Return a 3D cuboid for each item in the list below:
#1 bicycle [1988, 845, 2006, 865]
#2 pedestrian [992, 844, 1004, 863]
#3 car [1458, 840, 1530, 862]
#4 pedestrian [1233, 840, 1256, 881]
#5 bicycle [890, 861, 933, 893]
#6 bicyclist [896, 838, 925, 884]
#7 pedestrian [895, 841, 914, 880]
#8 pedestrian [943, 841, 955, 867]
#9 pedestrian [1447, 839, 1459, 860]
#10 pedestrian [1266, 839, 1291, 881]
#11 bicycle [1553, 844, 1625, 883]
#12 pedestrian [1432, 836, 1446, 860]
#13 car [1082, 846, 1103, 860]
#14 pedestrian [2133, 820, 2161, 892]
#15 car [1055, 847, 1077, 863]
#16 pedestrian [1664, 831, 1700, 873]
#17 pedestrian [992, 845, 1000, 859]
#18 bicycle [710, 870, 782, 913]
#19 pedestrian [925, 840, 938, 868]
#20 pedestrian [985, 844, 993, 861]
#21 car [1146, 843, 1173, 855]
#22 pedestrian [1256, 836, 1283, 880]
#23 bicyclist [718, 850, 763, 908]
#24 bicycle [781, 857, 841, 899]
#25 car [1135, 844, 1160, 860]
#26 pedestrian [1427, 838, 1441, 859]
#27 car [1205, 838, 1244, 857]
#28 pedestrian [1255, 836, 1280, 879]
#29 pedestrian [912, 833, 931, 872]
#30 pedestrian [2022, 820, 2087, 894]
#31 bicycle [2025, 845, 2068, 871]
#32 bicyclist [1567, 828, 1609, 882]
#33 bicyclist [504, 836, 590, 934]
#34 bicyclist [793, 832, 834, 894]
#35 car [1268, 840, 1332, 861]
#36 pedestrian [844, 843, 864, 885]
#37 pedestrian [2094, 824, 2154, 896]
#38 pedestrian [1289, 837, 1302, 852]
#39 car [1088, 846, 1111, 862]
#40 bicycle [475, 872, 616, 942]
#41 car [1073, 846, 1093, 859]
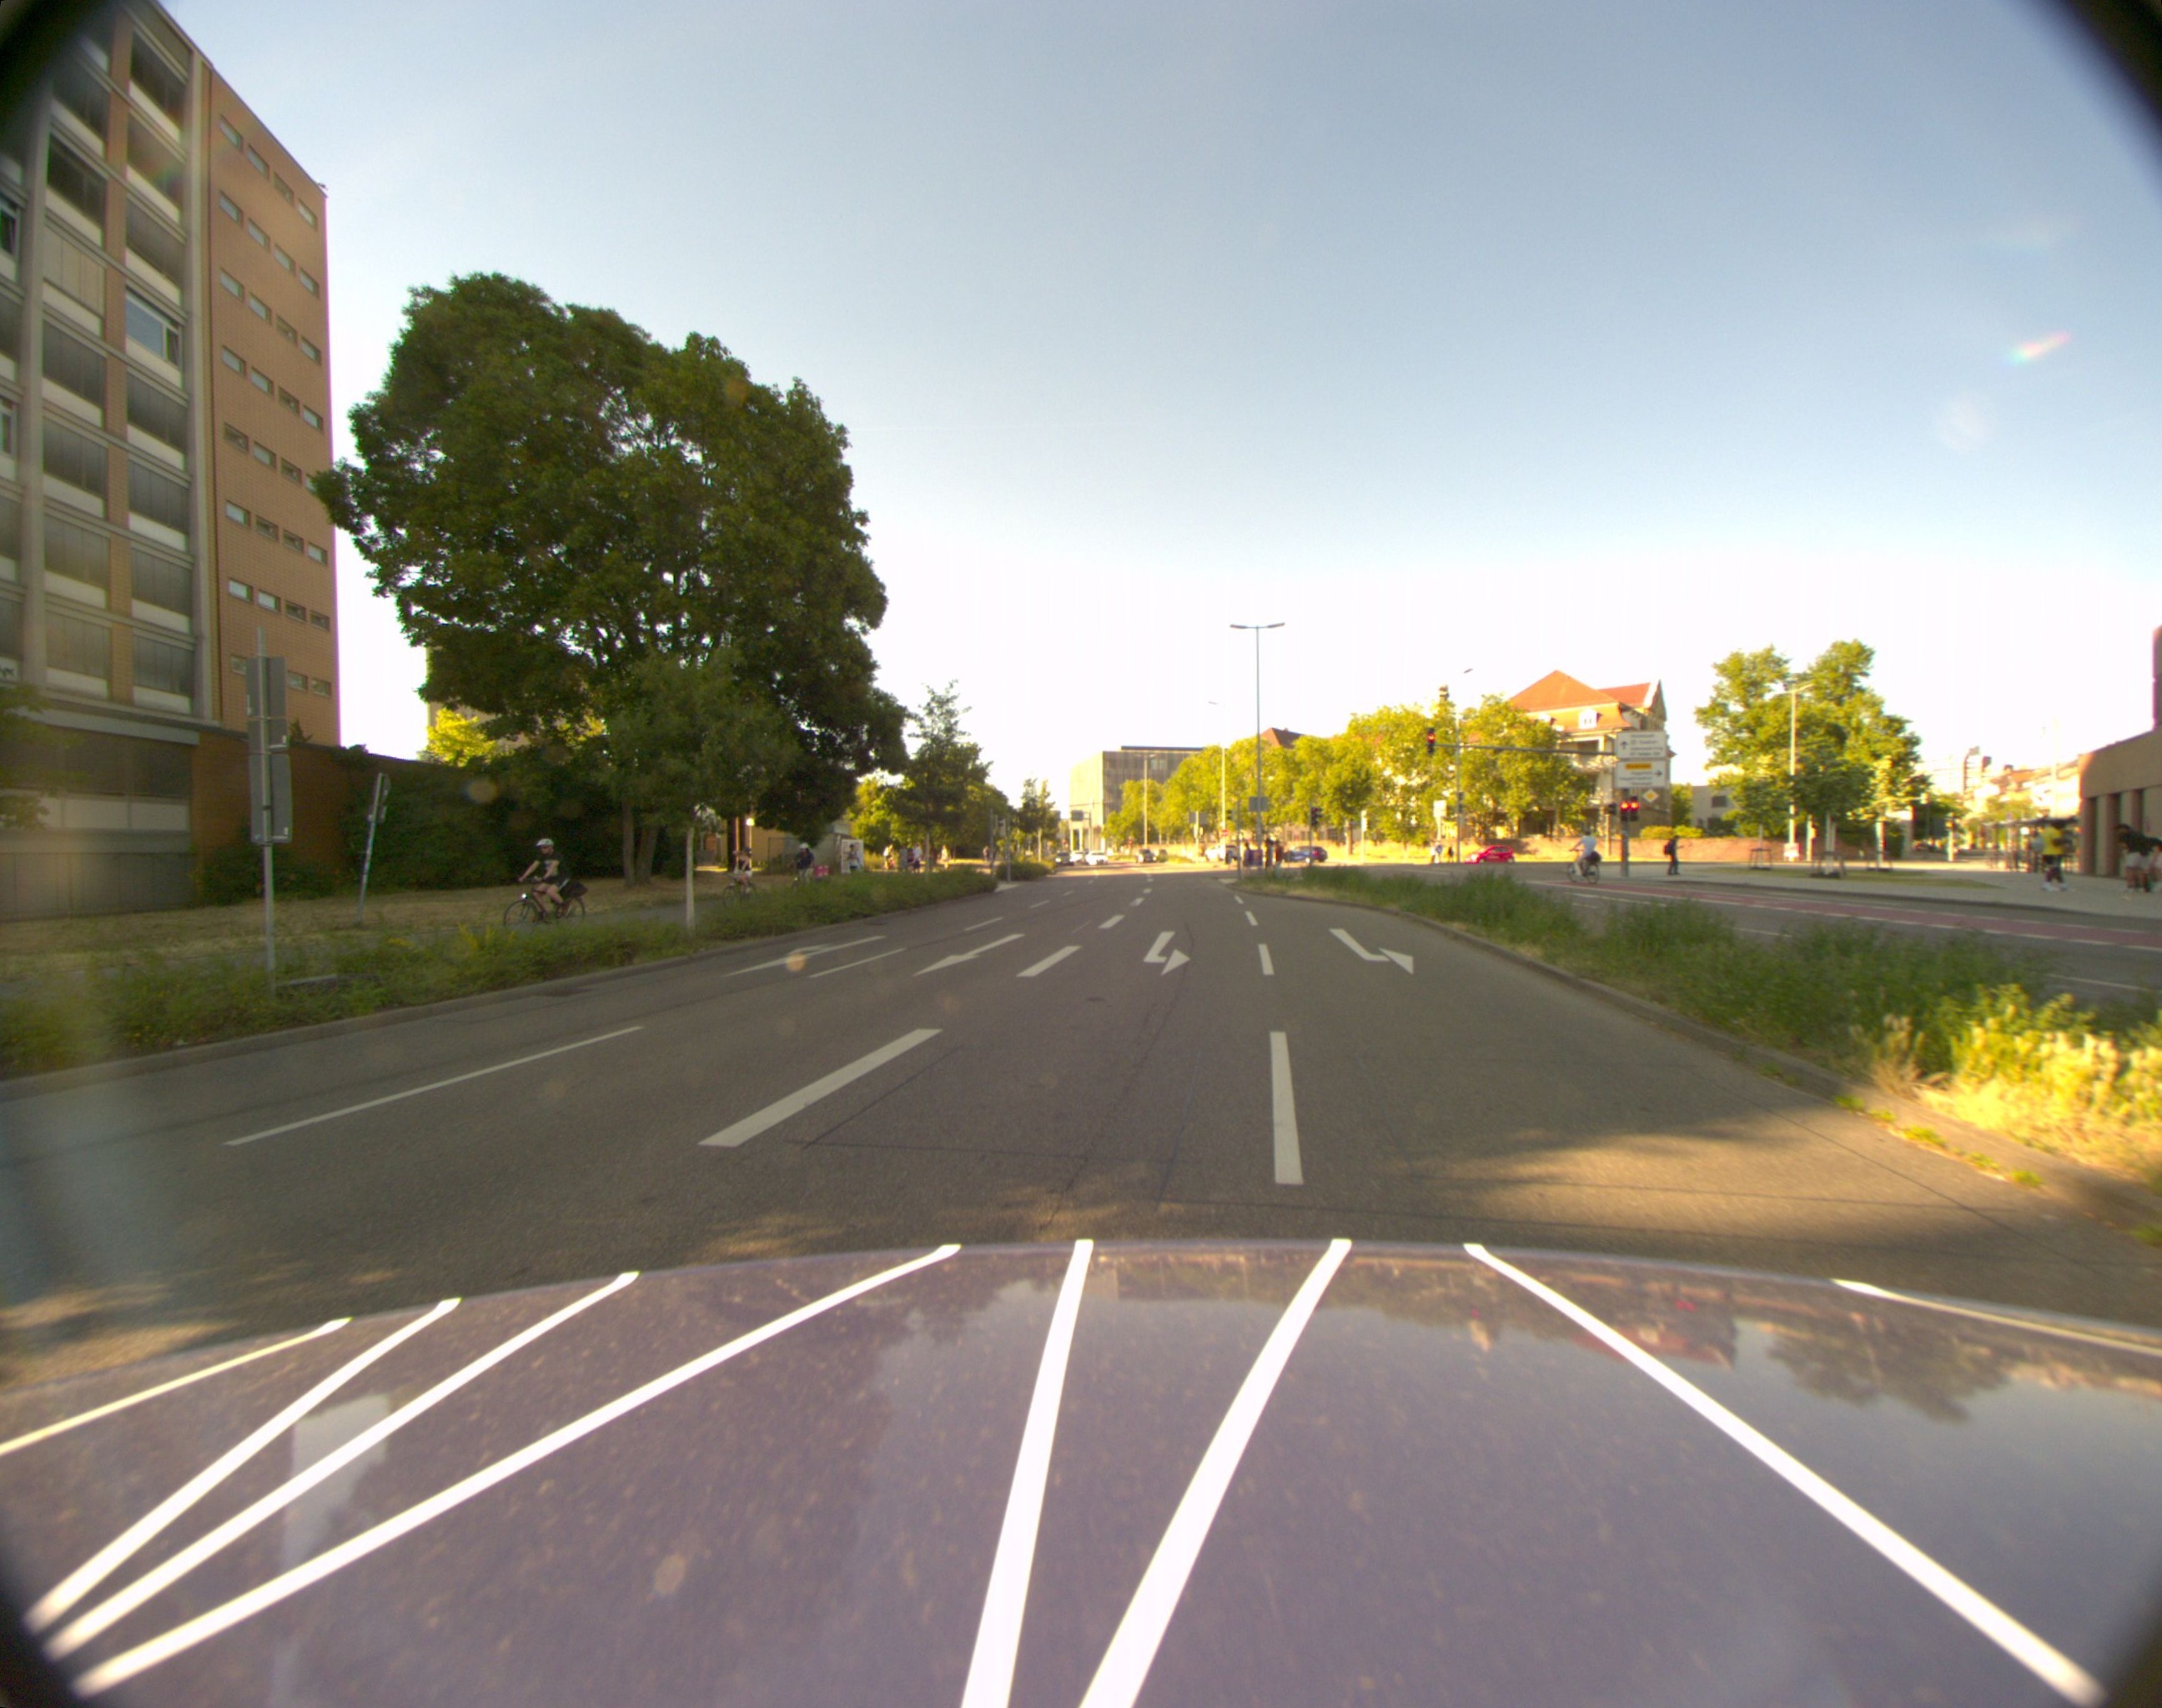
[{"bbox_3d":[51.304,0.028,42.565,1.977,1.048,0.565,-2,0,-41],"label":"bicycle"},{"bbox_3d":[-7.654,-0.056,69.908,1.019,1.739,0.848,0,1,-13],"label":"pedestrian"},{"bbox_3d":[31.764,-0.230,58.506,4.609,1.576,2.193,-1,-1,-14],"label":"car"},{"bbox_3d":[7.002,0.283,32.526,0.926,1.731,0.757,0,1,8],"label":"pedestrian"},{"bbox_3d":[-6.679,0.887,30.083,0.718,1.115,2.068,-2,1,16],"label":"bicycle"},{"bbox_3d":[-6.728,0.266,29.986,0.716,1.778,0.850,-2,1,16],"label":"bicyclist"},{"bbox_3d":[-8.553,0.317,36.805,0.575,1.859,0.624,1,2,43],"label":"pedestrian"},{"bbox_3d":[-8.789,-0.026,50.614,0.676,1.694,0.876,-1,1,-13],"label":"pedestrian"},{"bbox_3d":[30.757,-0.372,62.870,0.791,1.644,0.714,2,6,34],"label":"pedestrian"},{"bbox_3d":[8.235,0.261,31.729,0.926,1.731,0.788,0,1,8],"label":"pedestrian"},{"bbox_3d":[17.485,0.302,26.237,0.742,1.248,2.555,-1,2,-1],"label":"bicycle"},{"bbox_3d":[29.430,-0.493,62.470,0.871,1.884,0.713,0,5,12],"label":"pedestrian"},{"bbox_3d":[1.196,-0.149,83.055,1.925,1.510,4.015,-1,1,-5],"label":"car"},{"bbox_3d":[26.081,0.041,18.292,0.734,1.720,0.666,-2,-1,43],"label":"pedestrian"},{"bbox_3d":[-1.485,0.084,73.743,1.803,1.510,3.997,-1,1,-5],"label":"car"},{"bbox_3d":[24.696,-0.078,31.229,0.898,1.675,0.748,0,1,8],"label":"pedestrian"},{"bbox_3d":[-9.209,-0.240,82.095,0.763,1.534,0.846,0,1,-13],"label":"pedestrian"},{"bbox_3d":[-9.200,1.020,20.946,0.718,1.114,1.871,-1,-1,18],"label":"bicycle"},{"bbox_3d":[-8.514,0.000,43.294,0.622,1.565,0.639,-1,1,-8],"label":"pedestrian"},{"bbox_3d":[-9.079,-0.164,75.113,0.712,1.703,0.733,-1,1,-8],"label":"pedestrian"},{"bbox_3d":[11.283,-0.688,109.094,2.158,1.611,4.354,-1,1,-20],"label":"car"},{"bbox_3d":[7.474,0.157,30.138,0.926,1.731,0.757,0,1,8],"label":"pedestrian"},{"bbox_3d":[-9.277,0.668,20.734,0.716,1.539,0.851,-1,-1,18],"label":"bicyclist"},{"bbox_3d":[-8.053,0.682,22.775,0.780,1.149,2.580,0,1,2],"label":"bicycle"},{"bbox_3d":[6.612,-0.219,75.936,1.925,1.510,4.015,-1,1,-5],"label":"car"},{"bbox_3d":[28.736,-0.492,61.872,0.871,1.665,0.713,0,5,12],"label":"pedestrian"},{"bbox_3d":[14.173,-0.601,75.472,2.196,1.673,4.602,-1,-1,-12],"label":"car"},{"bbox_3d":[7.601,0.147,31.021,0.926,1.731,0.757,0,1,8],"label":"pedestrian"},{"bbox_3d":[-7.700,-0.087,36.670,0.575,1.859,0.624,1,2,43],"label":"pedestrian"},{"bbox_3d":[24.270,0.083,18.955,0.717,1.824,0.640,-1,-1,18],"label":"pedestrian"},{"bbox_3d":[43.560,0.178,34.300,0.743,1.099,2.129,-2,-1,40],"label":"bicycle"},{"bbox_3d":[17.478,0.009,26.224,0.742,1.822,1.013,-1,2,-1],"label":"bicyclist"},{"bbox_3d":[-10.321,0.566,14.721,0.779,1.820,1.094,0,1,12],"label":"bicyclist"},{"bbox_3d":[-8.058,0.246,22.918,0.780,1.823,1.093,0,1,2],"label":"bicyclist"},{"bbox_3d":[17.950,-0.284,62.377,4.594,1.576,2.200,-2,-1,32],"label":"car"},{"bbox_3d":[-9.312,0.397,31.207,0.622,1.689,0.630,0,1,1],"label":"pedestrian"},{"bbox_3d":[24.880,0.142,18.134,0.637,1.679,0.551,-1,-1,31],"label":"pedestrian"},{"bbox_3d":[22.830,-1.007,80.924,0.974,1.528,0.922,-1,1,-7],"label":"pedestrian"},{"bbox_3d":[1.817,-0.002,75.745,1.803,1.510,4.429,-1,1,-5],"label":"car"},{"bbox_3d":[-10.313,0.979,14.777,0.779,1.149,2.293,0,1,12],"label":"bicycle"},{"bbox_3d":[0.216,-0.221,89.196,1.925,1.510,4.015,-1,1,-5],"label":"car"}]
